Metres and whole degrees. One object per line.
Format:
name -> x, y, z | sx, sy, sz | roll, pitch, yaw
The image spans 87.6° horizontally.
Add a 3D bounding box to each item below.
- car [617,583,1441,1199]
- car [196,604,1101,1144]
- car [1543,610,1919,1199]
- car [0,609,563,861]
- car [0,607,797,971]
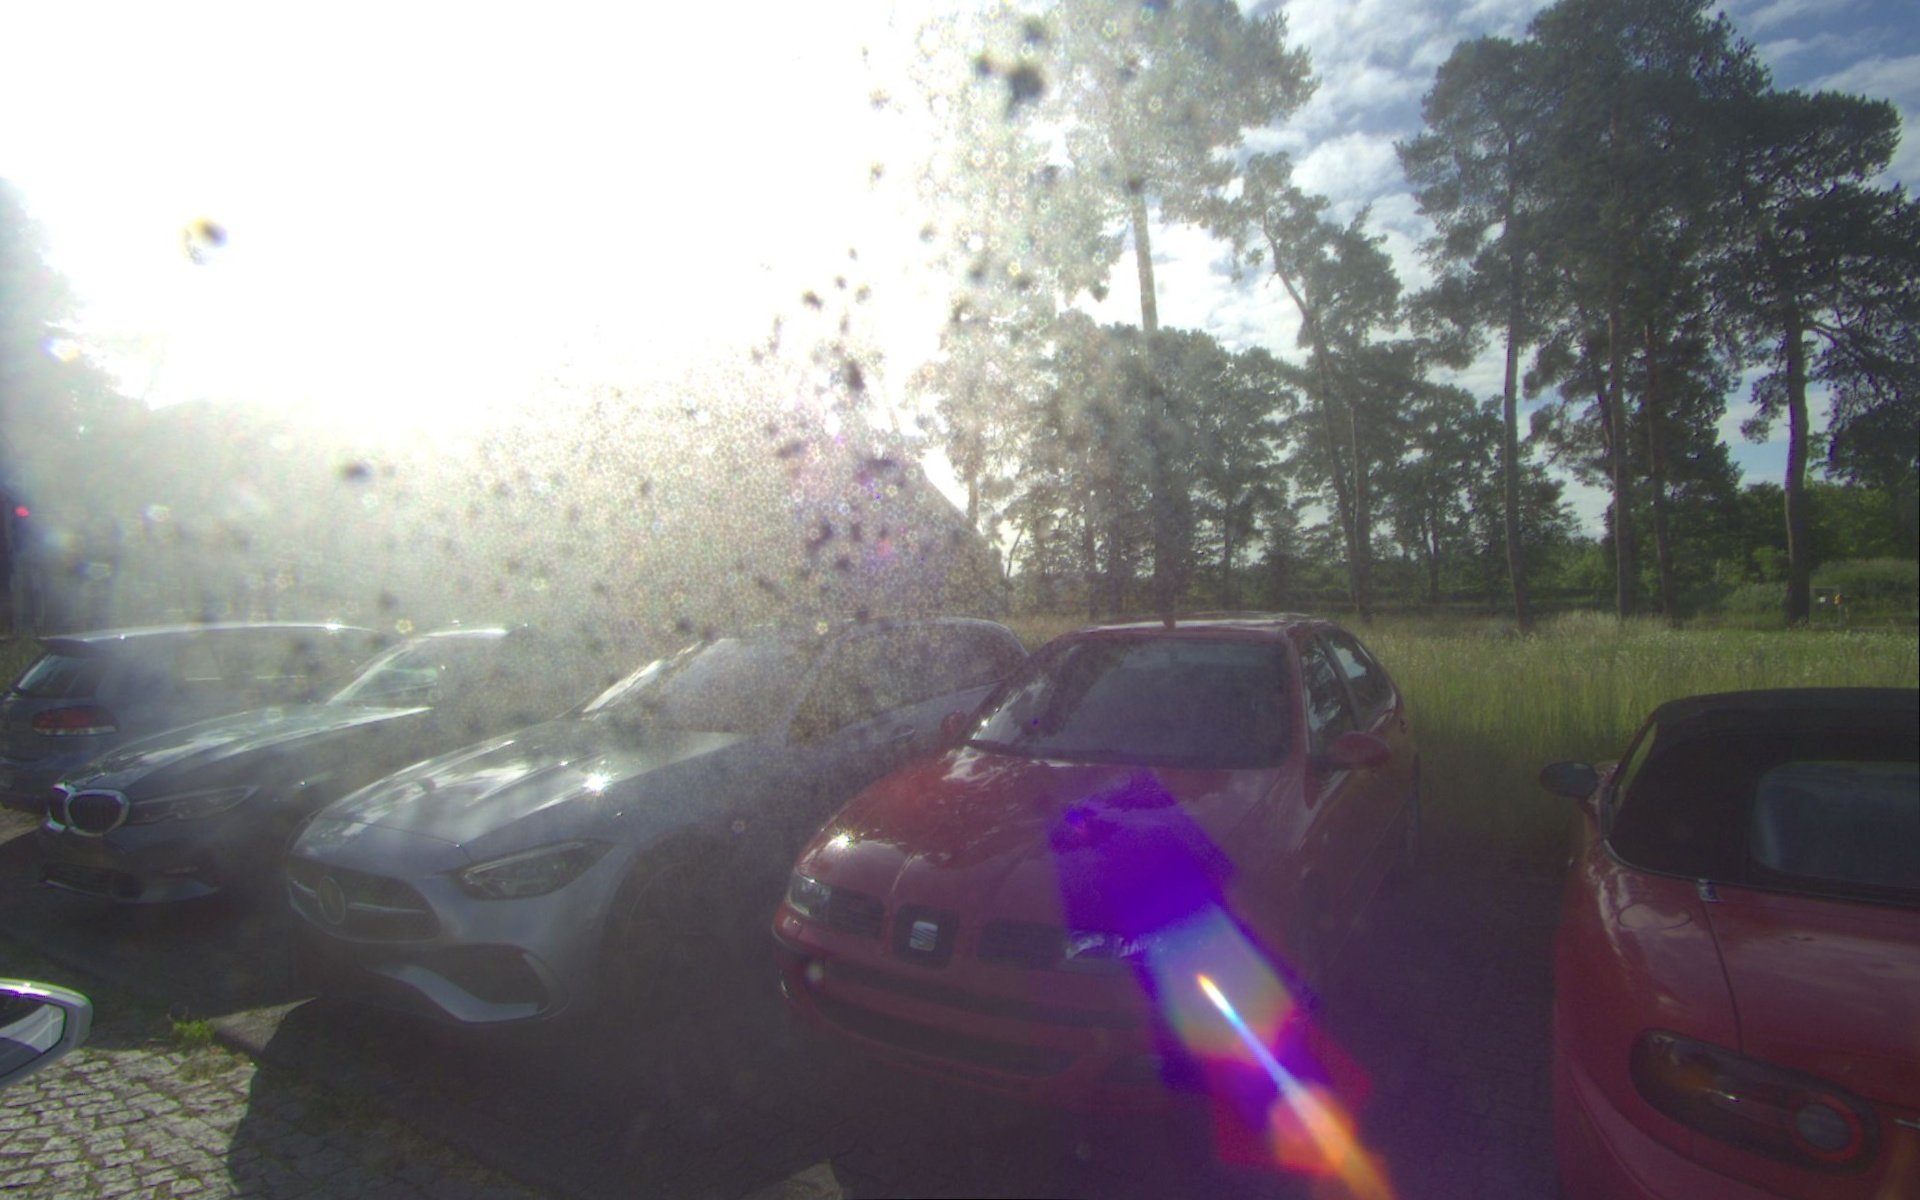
car -> 0.829, 0.704, 4.116 | 1.613, 1.468, 4.117 | 0, 1, 32
car -> -0.987, 0.809, 5.229 | 1.755, 1.434, 4.421 | 0, 1, 32
car -> 3.238, 0.720, 3.724 | 1.721, 1.240, 3.698 | 0, 1, 32
car -> -5.474, 0.859, 8.258 | 1.613, 1.434, 3.872 | 0, 1, 32
car -> -3.235, 0.841, 6.684 | 1.613, 1.434, 4.548 | 0, 1, 32
